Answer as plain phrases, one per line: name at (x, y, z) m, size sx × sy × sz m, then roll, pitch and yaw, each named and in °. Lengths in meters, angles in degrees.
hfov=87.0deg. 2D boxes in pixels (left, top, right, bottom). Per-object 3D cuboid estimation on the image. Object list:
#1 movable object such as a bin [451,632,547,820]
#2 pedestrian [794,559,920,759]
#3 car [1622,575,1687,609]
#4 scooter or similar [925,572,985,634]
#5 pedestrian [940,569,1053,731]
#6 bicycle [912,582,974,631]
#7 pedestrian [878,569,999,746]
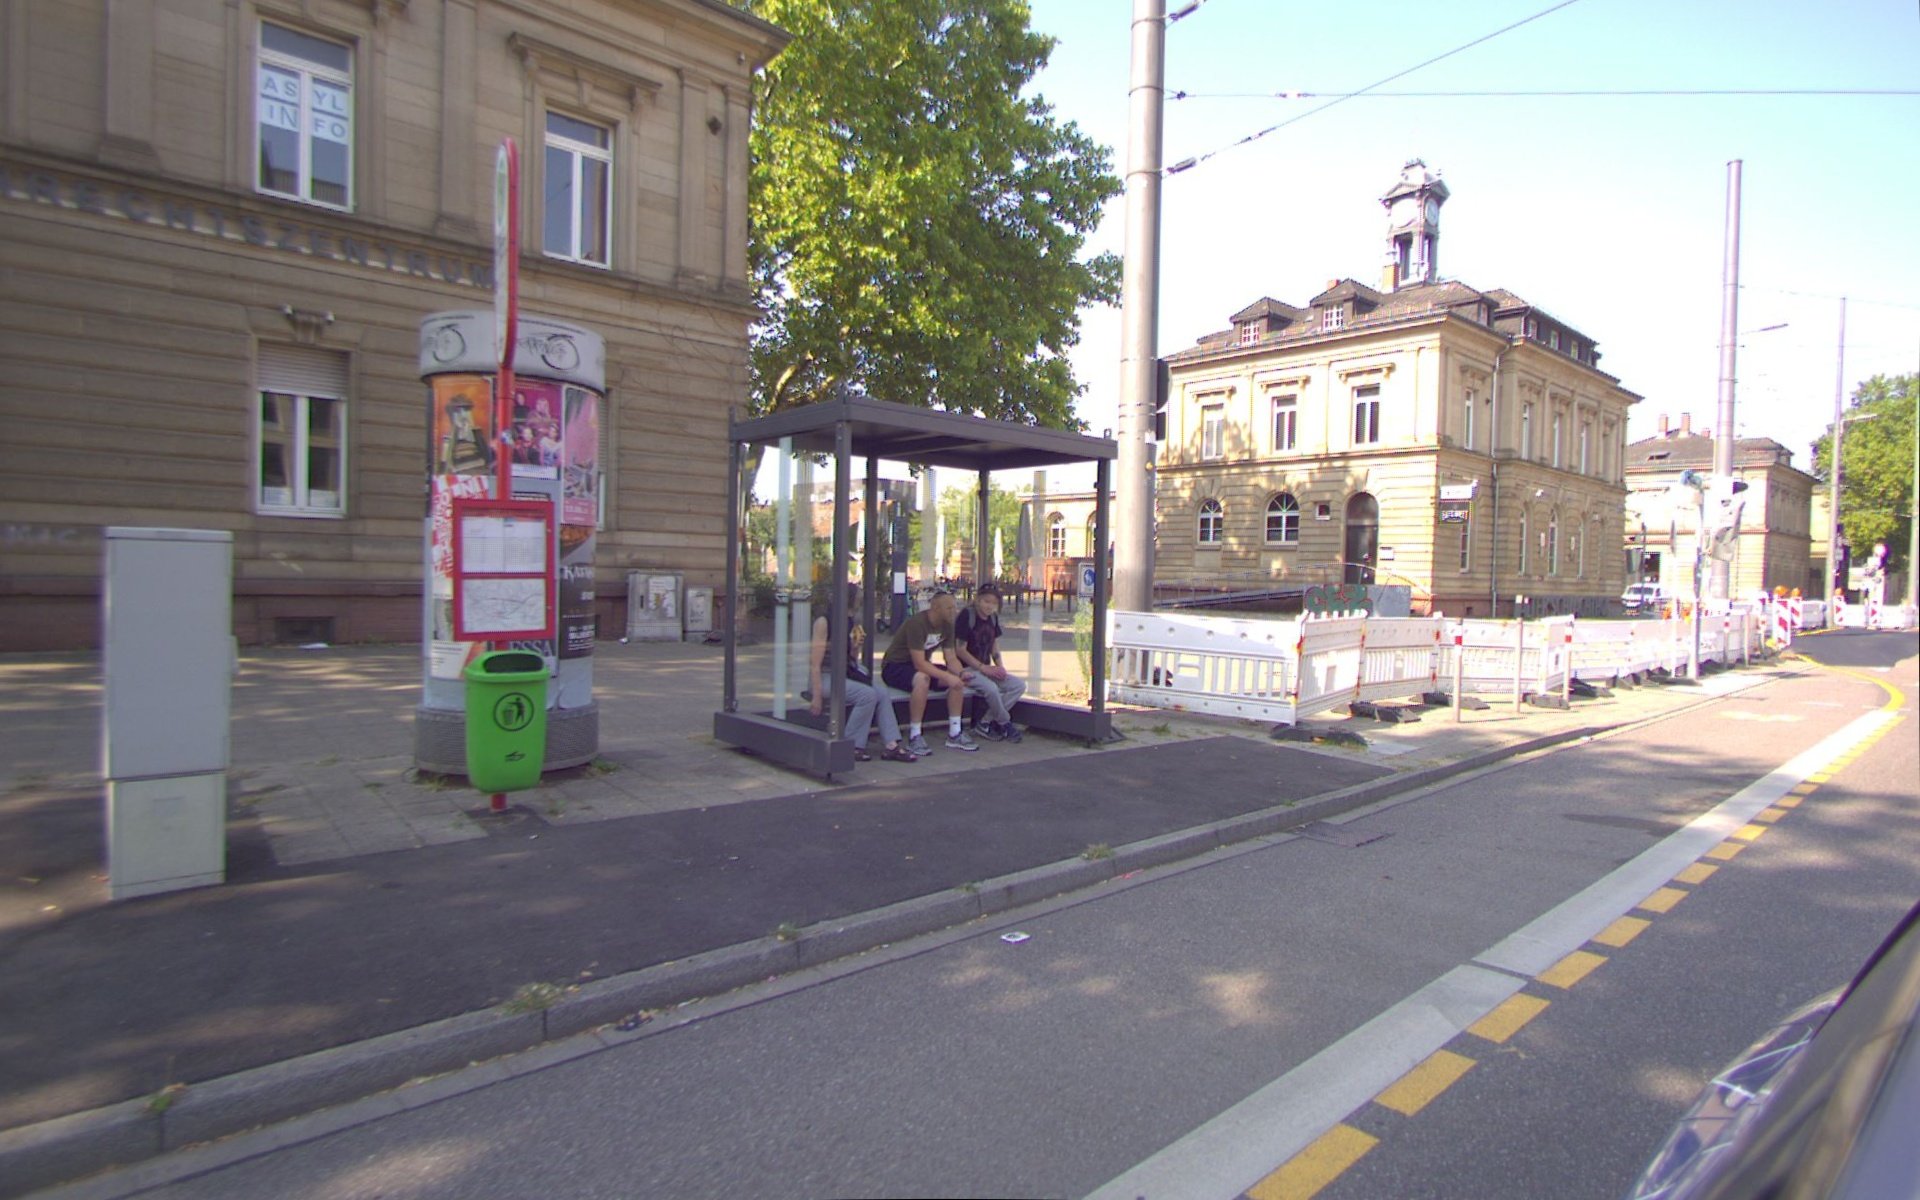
movable object such as a bin at (-2.429, 0.644, 5.335) m, size 0.379 × 0.927 × 0.271 m, roll 0°, pitch 2°, yaw -43°
pedestrian at (-0.767, 0.397, 7.488) m, size 0.601 × 1.383 × 0.752 m, roll -1°, pitch 1°, yaw -41°
car at (42.880, -0.481, 62.466) m, size 4.144 × 1.805 × 1.911 m, roll 4°, pitch 1°, yaw -35°
scooter or similar at (-0.101, 0.058, 20.773) m, size 1.150 × 1.243 × 0.427 m, roll 1°, pitch 2°, yaw -34°
pedestrian at (0.301, 0.385, 8.447) m, size 0.601 × 1.277 × 0.742 m, roll -1°, pitch 1°, yaw -41°
bicycle at (-0.354, 0.154, 22.358) m, size 0.489 × 1.012 × 1.798 m, roll 2°, pitch 0°, yaw 30°
pedestrian at (-0.171, 0.404, 7.802) m, size 0.601 × 1.277 × 0.742 m, roll -1°, pitch 1°, yaw -41°
